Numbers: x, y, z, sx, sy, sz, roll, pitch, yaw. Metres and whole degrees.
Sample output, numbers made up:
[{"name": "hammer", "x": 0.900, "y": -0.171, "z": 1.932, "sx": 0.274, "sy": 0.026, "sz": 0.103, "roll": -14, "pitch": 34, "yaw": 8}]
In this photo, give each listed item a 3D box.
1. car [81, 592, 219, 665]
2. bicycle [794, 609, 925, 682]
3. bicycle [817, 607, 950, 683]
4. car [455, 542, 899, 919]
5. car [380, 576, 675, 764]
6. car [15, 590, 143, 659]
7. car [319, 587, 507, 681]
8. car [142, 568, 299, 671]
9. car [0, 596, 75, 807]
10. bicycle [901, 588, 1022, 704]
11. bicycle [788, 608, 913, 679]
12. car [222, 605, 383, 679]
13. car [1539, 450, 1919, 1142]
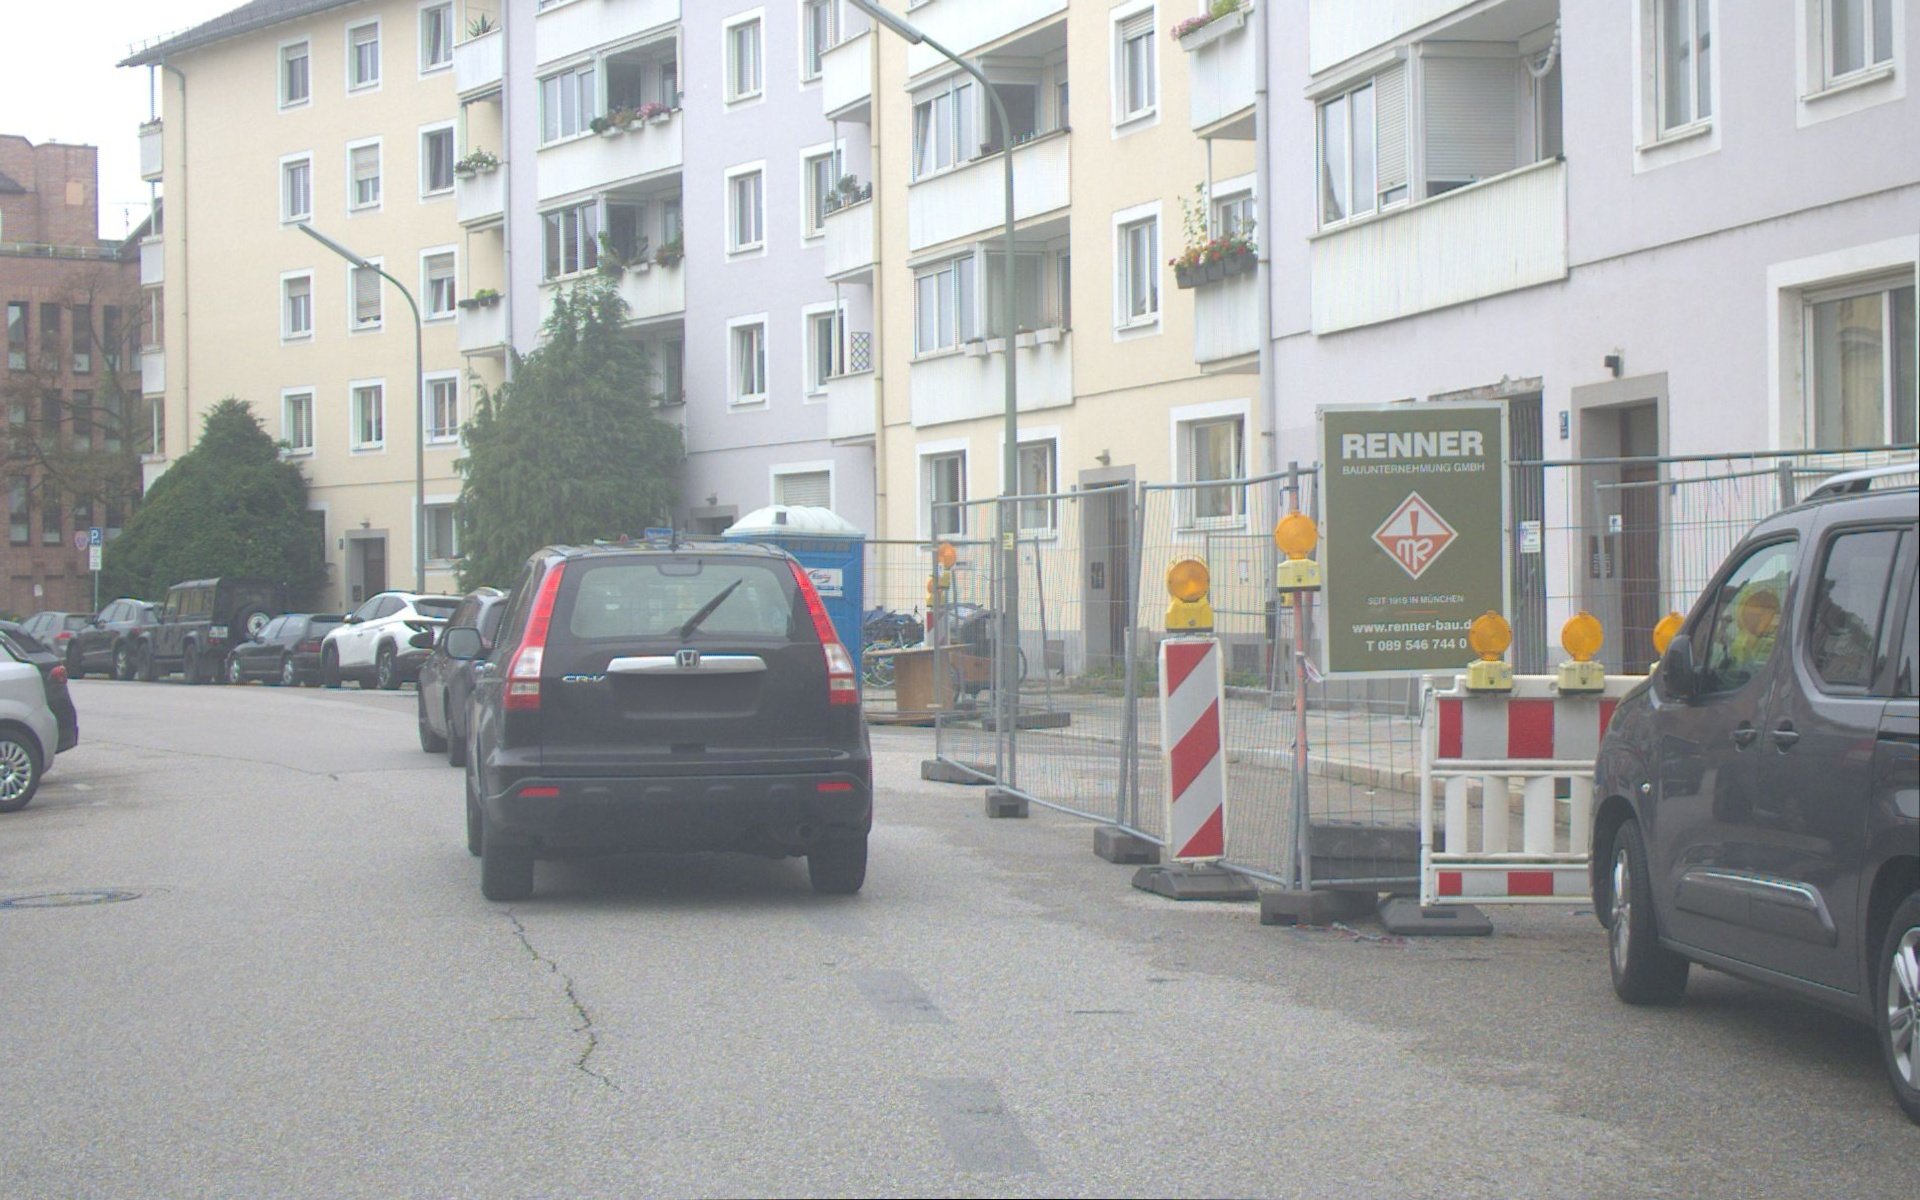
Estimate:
[{"name": "car", "x": -16.281, "y": 0.548, "z": 69.024, "sx": 1.697, "sy": 1.384, "sz": 3.602, "roll": 0, "pitch": 1, "yaw": -31}, {"name": "bicycle", "x": -1.521, "y": 0.684, "z": 52.107, "sx": 1.865, "sy": 1.087, "sz": 0.646, "roll": 0, "pitch": 0, "yaw": -18}, {"name": "bicycle", "x": -1.121, "y": 0.658, "z": 50.480, "sx": 1.865, "sy": 1.087, "sz": 0.566, "roll": 0, "pitch": 0, "yaw": -18}, {"name": "car", "x": -1.530, "y": 0.563, "z": 17.164, "sx": 1.890, "sy": 1.642, "sz": 3.992, "roll": 0, "pitch": 0, "yaw": -9}, {"name": "car", "x": -3.749, "y": 0.543, "z": 29.253, "sx": 1.678, "sy": 1.476, "sz": 4.087, "roll": 0, "pitch": 0, "yaw": -19}, {"name": "car", "x": -18.667, "y": 0.498, "z": 72.769, "sx": 1.697, "sy": 1.384, "sz": 3.602, "roll": 0, "pitch": 1, "yaw": -31}, {"name": "car", "x": -9.097, "y": 0.537, "z": 56.954, "sx": 1.724, "sy": 1.478, "sz": 4.000, "roll": 0, "pitch": 1, "yaw": -31}, {"name": "car", "x": -14.037, "y": 0.337, "z": 65.131, "sx": 1.724, "sy": 1.871, "sz": 4.000, "roll": 0, "pitch": 1, "yaw": -31}, {"name": "car", "x": -8.450, "y": 0.858, "z": 23.938, "sx": 1.683, "sy": 1.476, "sz": 4.077, "roll": -5, "pitch": -1, "yaw": 43}, {"name": "bicycle", "x": -0.001, "y": 0.551, "z": 42.700, "sx": 0.968, "sy": 1.384, "sz": 2.564, "roll": 0, "pitch": 0, "yaw": -12}, {"name": "bicycle", "x": -1.724, "y": 0.675, "z": 54.087, "sx": 1.865, "sy": 1.087, "sz": 0.646, "roll": 0, "pitch": 0, "yaw": -18}, {"name": "car", "x": -11.732, "y": 0.733, "z": 61.183, "sx": 1.697, "sy": 1.232, "sz": 3.602, "roll": 0, "pitch": 1, "yaw": -31}, {"name": "car", "x": 3.241, "y": 0.510, "z": 10.694, "sx": 1.777, "sy": 1.800, "sz": 4.277, "roll": 1, "pitch": 0, "yaw": -5}]
